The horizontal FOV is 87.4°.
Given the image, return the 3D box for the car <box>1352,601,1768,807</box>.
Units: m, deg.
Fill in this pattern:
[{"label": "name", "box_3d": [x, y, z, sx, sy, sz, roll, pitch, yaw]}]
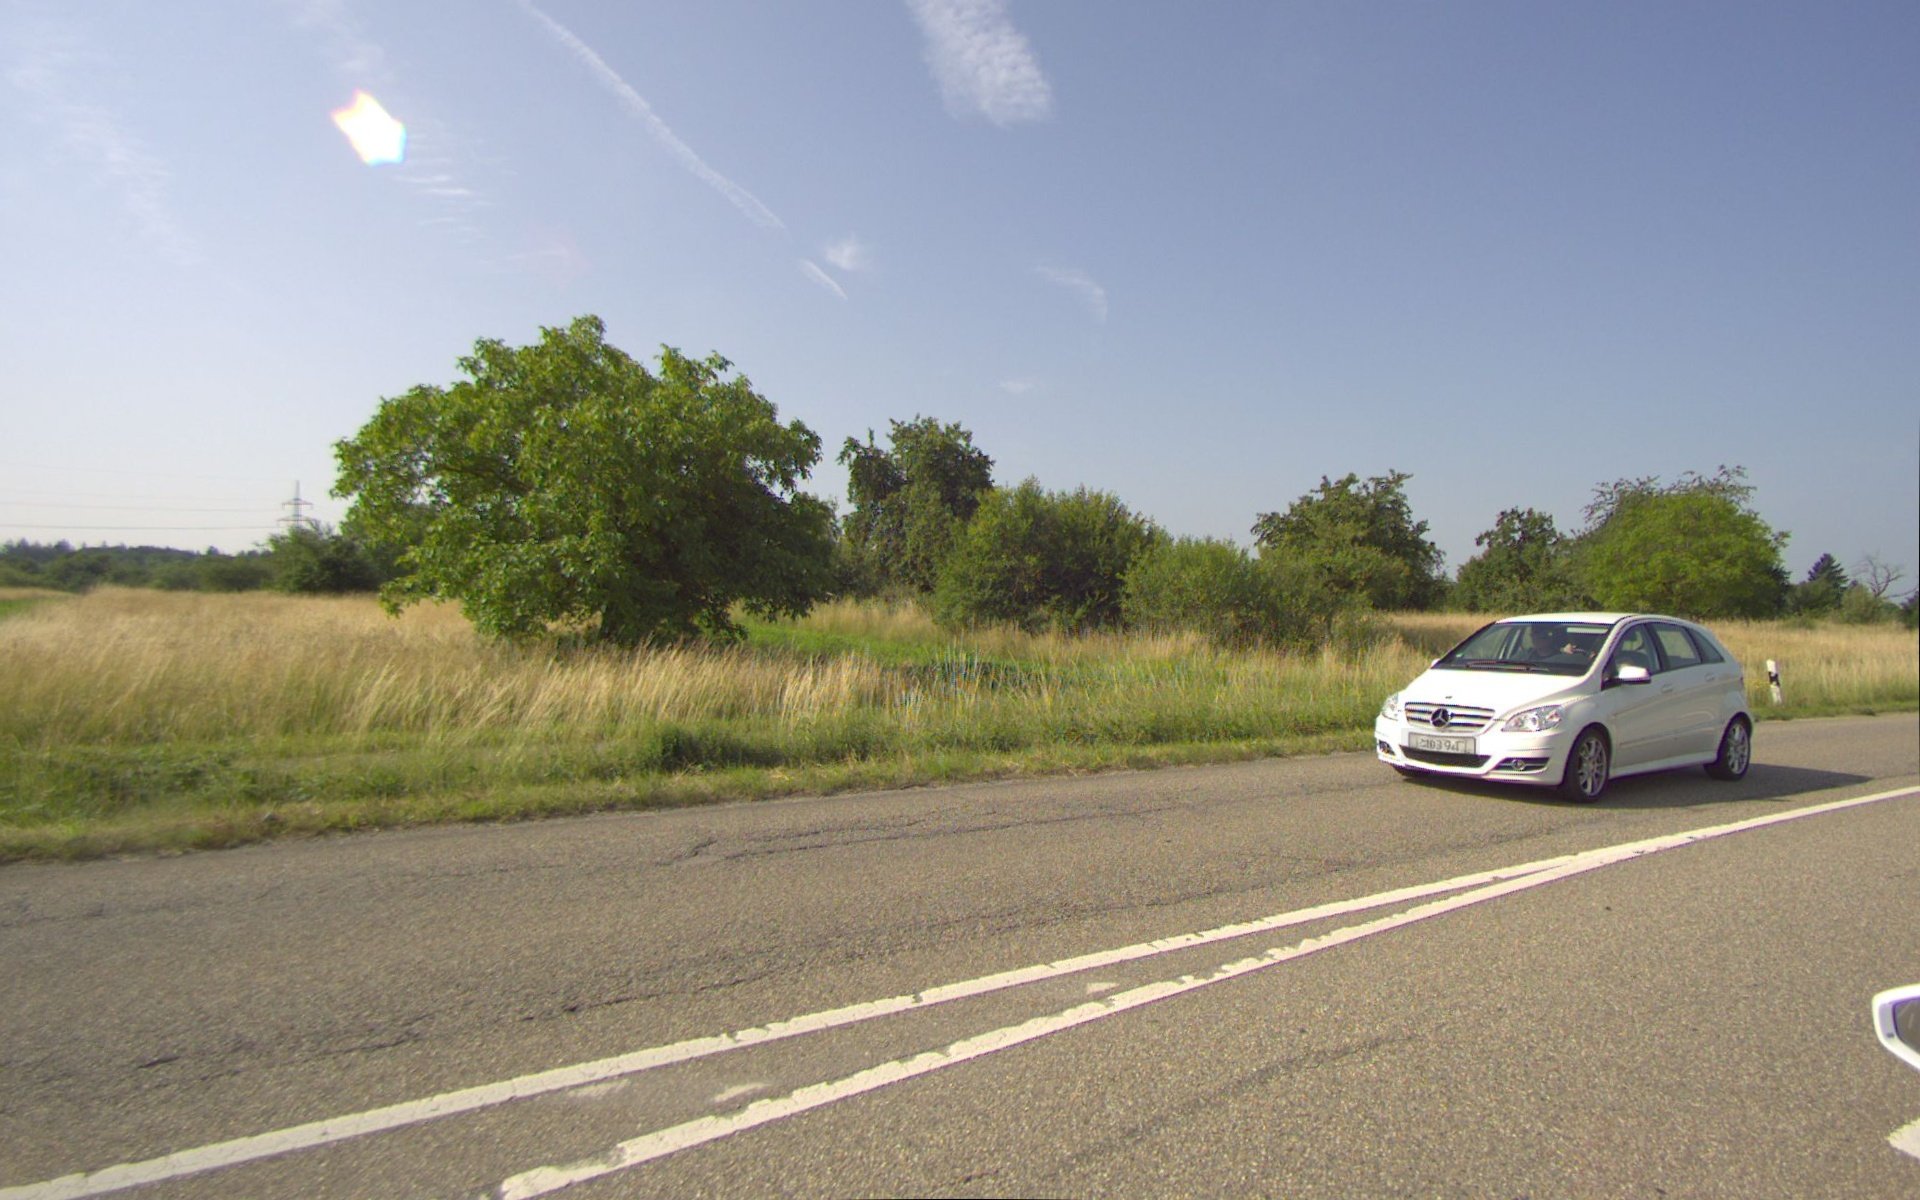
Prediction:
[{"label": "car", "box_3d": [5.900, 0.878, 9.752, 4.178, 1.606, 1.802, 2, -2, -32]}]
